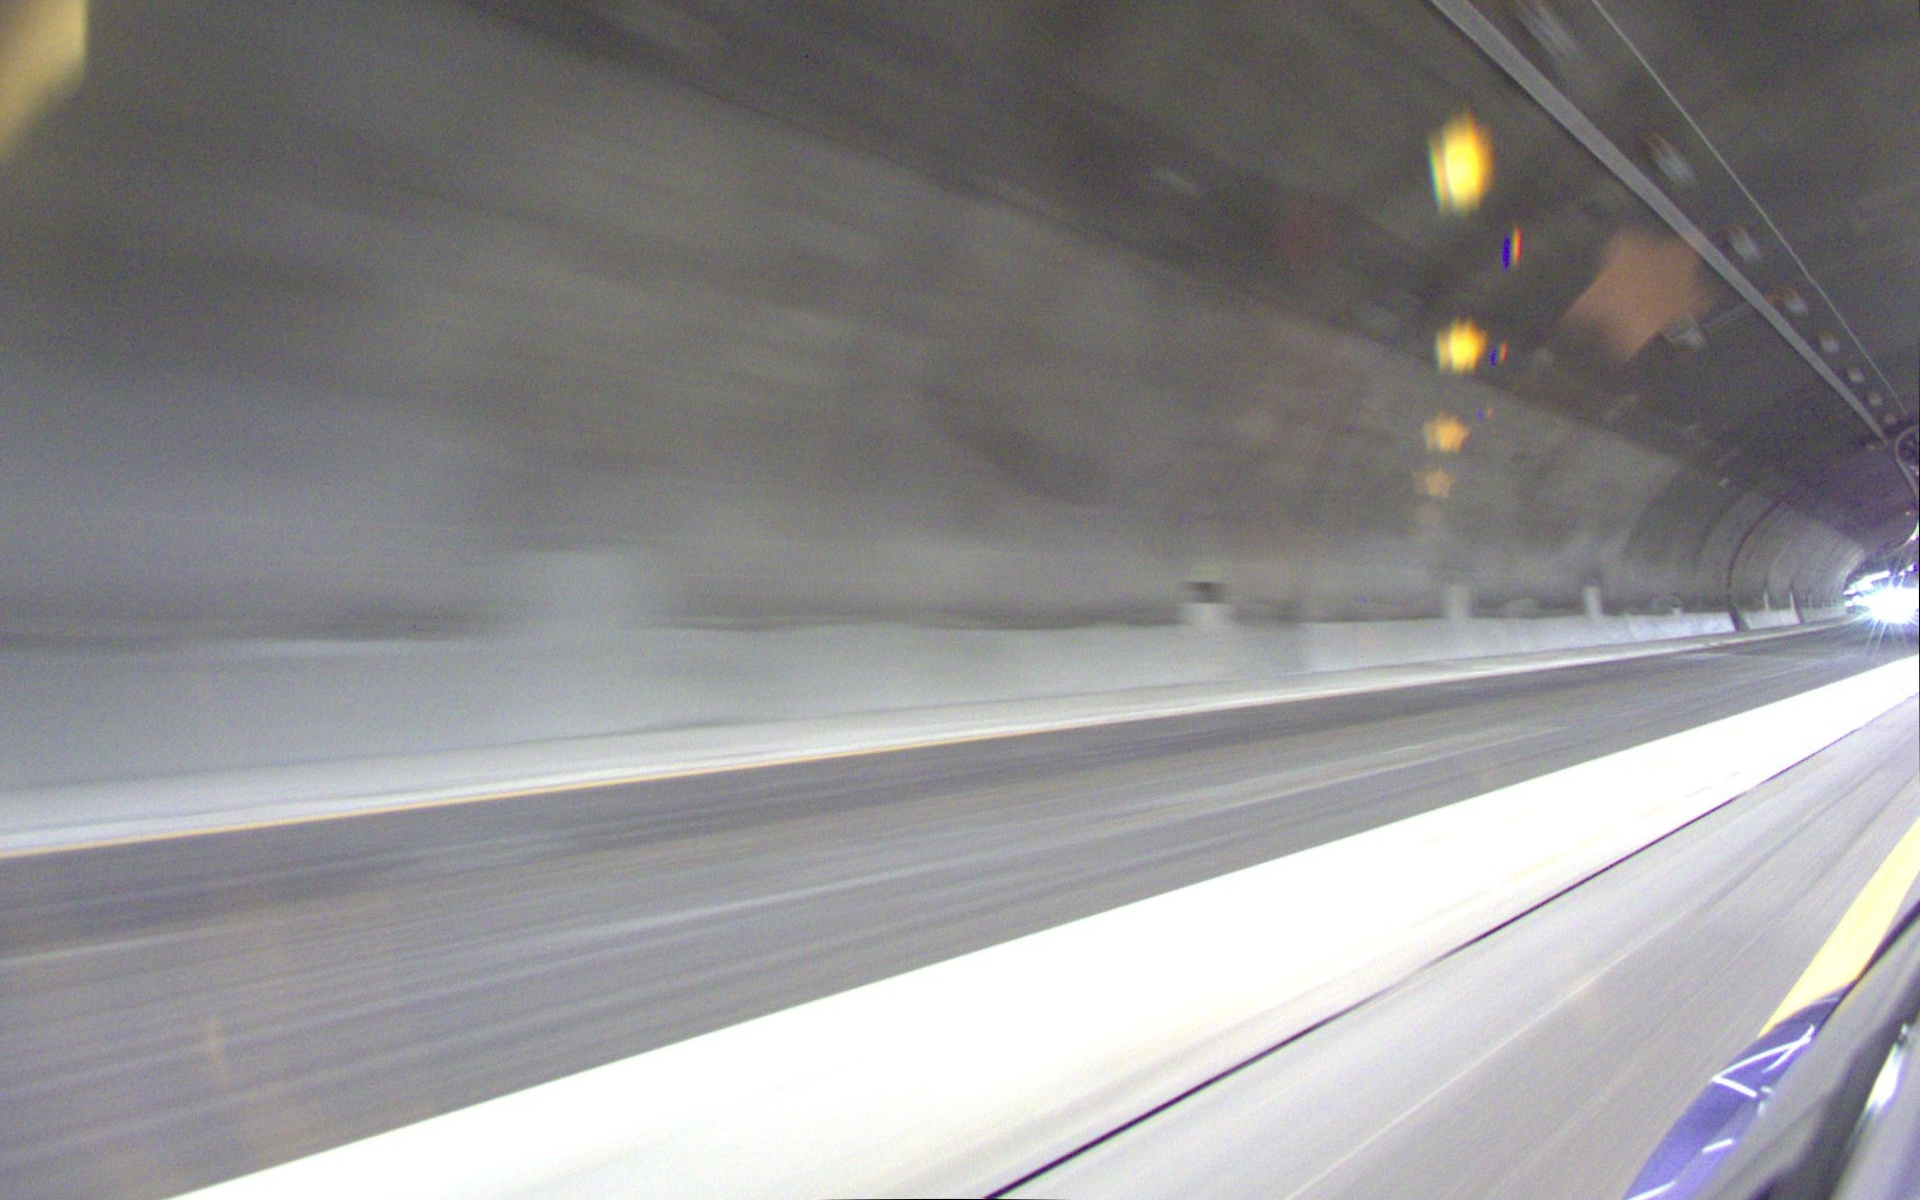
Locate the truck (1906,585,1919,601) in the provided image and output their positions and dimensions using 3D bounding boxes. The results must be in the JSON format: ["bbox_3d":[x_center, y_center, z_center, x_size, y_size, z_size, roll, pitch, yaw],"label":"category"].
[{"bbox_3d":[165.569,-1.163,175.142,2.601,2.774,6.302,0,0,41],"label":"truck"}]
